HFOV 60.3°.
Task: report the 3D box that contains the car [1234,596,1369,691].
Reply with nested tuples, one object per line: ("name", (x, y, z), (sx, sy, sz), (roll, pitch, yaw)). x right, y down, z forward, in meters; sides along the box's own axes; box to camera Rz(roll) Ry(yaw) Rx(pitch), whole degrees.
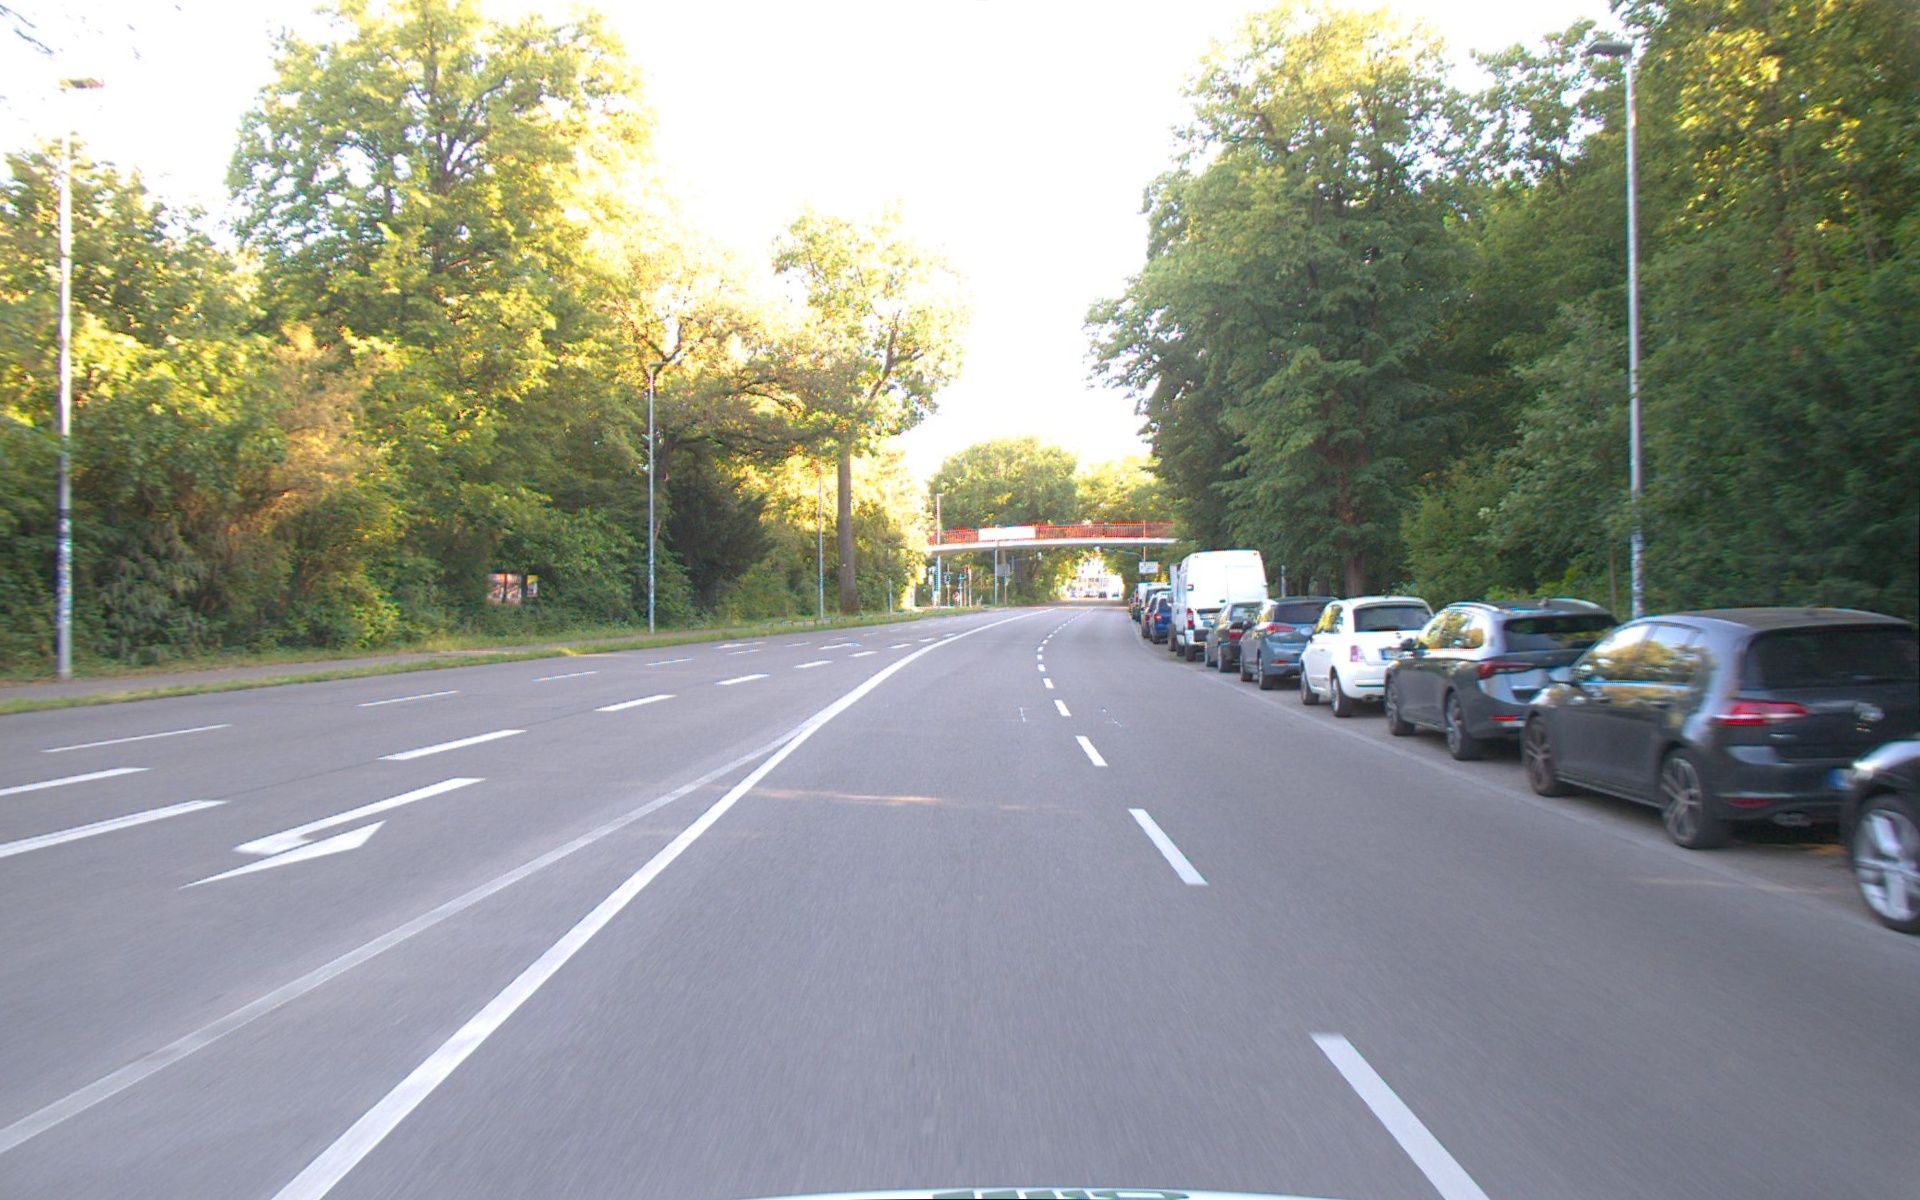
("car", (5.779, 0.710, 28.413), (1.642, 1.490, 4.067), (-1, 0, 3))

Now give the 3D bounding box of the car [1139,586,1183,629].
("car", (9.123, 0.349, 75.396), (1.722, 1.836, 4.740), (-1, 0, 4))

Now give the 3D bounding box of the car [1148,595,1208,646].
("car", (6.962, 0.656, 53.185), (1.642, 1.562, 4.355), (-1, 0, 4))

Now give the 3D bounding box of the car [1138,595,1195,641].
("car", (7.319, 0.634, 58.948), (1.722, 1.562, 4.991), (-1, 0, 4))

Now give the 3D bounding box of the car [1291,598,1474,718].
("car", (5.670, 0.739, 22.606), (1.643, 1.490, 3.689), (-1, 0, 2))

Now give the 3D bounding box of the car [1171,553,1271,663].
("car", (6.254, 0.199, 40.229), (1.864, 2.466, 5.578), (-1, 0, 4))

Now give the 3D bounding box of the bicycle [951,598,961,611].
("bicycle", (-0.362, 0.447, 151.631), (0.697, 1.167, 1.994), (1, -1, 5))

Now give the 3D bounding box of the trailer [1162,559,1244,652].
("trailer", (6.849, 0.172, 46.994), (1.864, 2.466, 5.129), (-1, 0, 4))

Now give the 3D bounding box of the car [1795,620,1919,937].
("car", (5.235, 0.801, 6.372), (1.683, 1.436, 4.486), (-1, 0, -1))

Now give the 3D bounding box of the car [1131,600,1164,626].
("car", (10.710, 0.736, 94.586), (1.829, 1.431, 4.372), (-1, 0, 6))

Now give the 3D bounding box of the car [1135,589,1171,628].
("car", (10.239, 0.457, 88.007), (1.829, 2.016, 5.478), (-1, 0, 6))

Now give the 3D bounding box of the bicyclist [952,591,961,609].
("bicyclist", (-0.347, 0.001, 151.637), (0.697, 1.586, 1.143), (1, -1, 5))

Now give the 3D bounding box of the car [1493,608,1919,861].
("car", (5.353, 0.790, 11.761), (1.682, 1.436, 4.487), (-1, 0, 0))

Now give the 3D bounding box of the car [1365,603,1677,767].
("car", (5.579, 0.773, 17.131), (1.682, 1.436, 4.908), (-1, 0, 2))

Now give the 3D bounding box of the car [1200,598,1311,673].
("car", (6.020, 0.706, 34.156), (1.642, 1.425, 4.652), (-1, 0, 3))
